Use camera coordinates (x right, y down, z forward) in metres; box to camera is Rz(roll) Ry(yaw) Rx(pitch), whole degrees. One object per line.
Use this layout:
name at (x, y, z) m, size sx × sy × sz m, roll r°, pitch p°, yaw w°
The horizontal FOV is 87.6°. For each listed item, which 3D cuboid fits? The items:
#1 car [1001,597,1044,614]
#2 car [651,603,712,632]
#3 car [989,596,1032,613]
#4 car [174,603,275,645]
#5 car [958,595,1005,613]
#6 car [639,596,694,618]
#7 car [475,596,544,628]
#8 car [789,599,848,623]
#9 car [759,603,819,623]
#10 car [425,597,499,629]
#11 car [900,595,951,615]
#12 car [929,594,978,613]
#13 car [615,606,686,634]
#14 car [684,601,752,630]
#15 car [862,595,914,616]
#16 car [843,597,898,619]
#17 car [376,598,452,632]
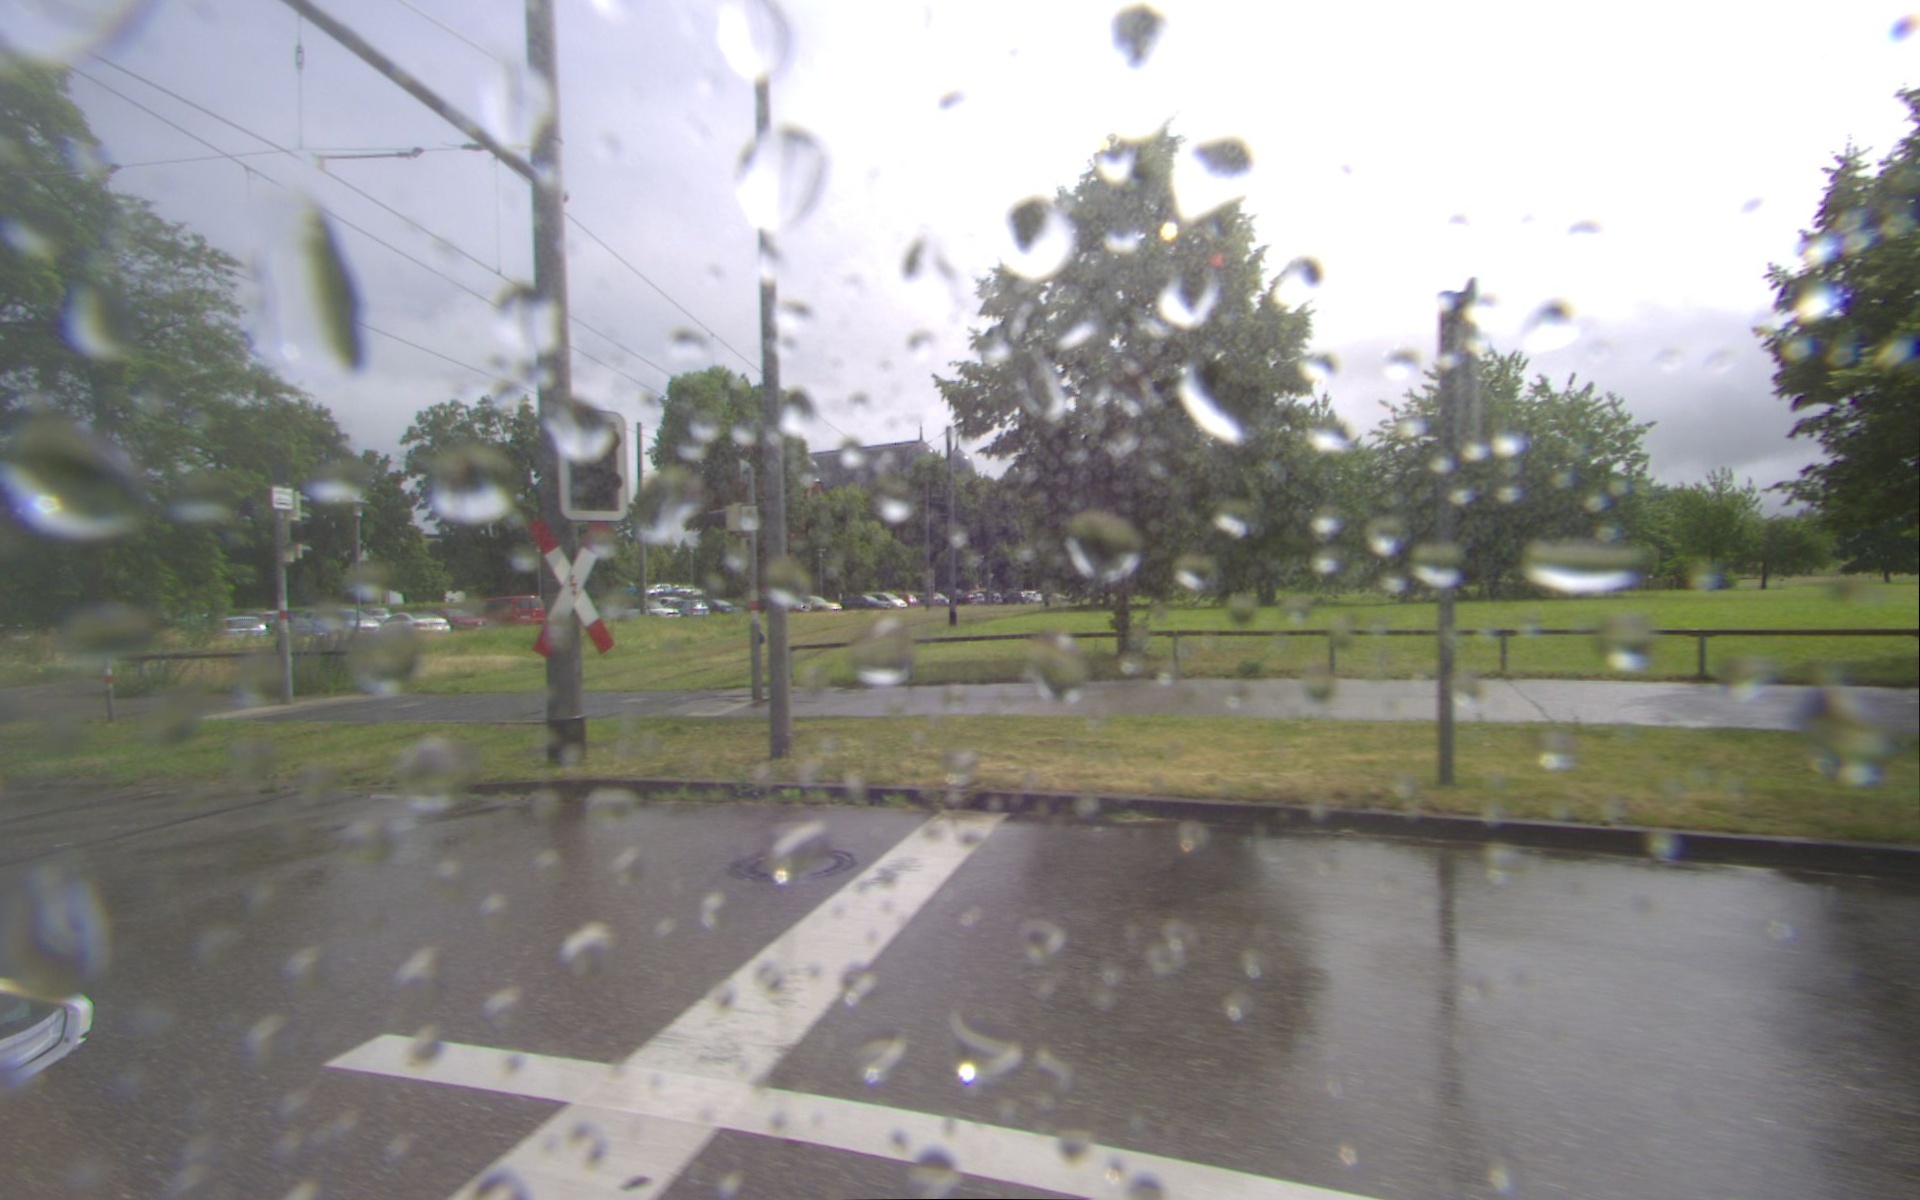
car at (6.279, 0.523, 101.151) m, size 3.921 × 1.580 × 1.840 m, roll -1°, pitch 1°, yaw 31°
car at (-17.050, 1.071, 61.226) m, size 3.576 × 1.682 × 1.542 m, roll -1°, pitch 1°, yaw 31°
car at (5.003, 0.490, 99.437) m, size 3.921 × 1.580 × 1.840 m, roll -1°, pitch 1°, yaw 31°
car at (-29.165, 0.959, 39.710) m, size 3.921 × 1.580 × 1.840 m, roll -1°, pitch 1°, yaw 31°
car at (1.985, 0.379, 93.279) m, size 3.921 × 1.580 × 1.840 m, roll -1°, pitch 1°, yaw 31°
car at (-22.306, 0.569, 76.134) m, size 3.942 × 1.548 × 1.789 m, roll -1°, pitch 1°, yaw 31°
car at (-22.846, 0.618, 50.779) m, size 3.603 × 1.530 × 1.638 m, roll -1°, pitch 1°, yaw 37°
car at (-10.223, 0.793, 72.130) m, size 3.921 × 1.580 × 1.840 m, roll -1°, pitch 1°, yaw 31°
car at (-11.962, 0.910, 69.962) m, size 3.921 × 1.325 × 1.840 m, roll -1°, pitch 1°, yaw 31°
car at (-24.234, 0.613, 48.677) m, size 3.561 × 1.481 × 1.635 m, roll -1°, pitch 1°, yaw 34°
car at (-2.881, 0.419, 84.404) m, size 3.921 × 1.580 × 1.840 m, roll -1°, pitch 1°, yaw 31°
car at (-0.583, 0.309, 88.657) m, size 3.921 × 1.580 × 1.840 m, roll -1°, pitch 1°, yaw 31°
car at (-18.320, 1.165, 59.244) m, size 3.942 × 1.548 × 1.789 m, roll -1°, pitch 1°, yaw 31°
car at (-15.400, 1.007, 63.612) m, size 3.943 × 1.737 × 1.989 m, roll -1°, pitch 1°, yaw 32°
car at (-5.864, 0.451, 81.537) m, size 3.921 × 1.580 × 1.840 m, roll -1°, pitch 1°, yaw 31°
car at (-7.011, 0.629, 78.062) m, size 3.921 × 1.580 × 1.840 m, roll -1°, pitch 1°, yaw 31°
car at (-25.306, 0.684, 46.380) m, size 3.561 × 1.481 × 1.635 m, roll -1°, pitch 1°, yaw 34°
